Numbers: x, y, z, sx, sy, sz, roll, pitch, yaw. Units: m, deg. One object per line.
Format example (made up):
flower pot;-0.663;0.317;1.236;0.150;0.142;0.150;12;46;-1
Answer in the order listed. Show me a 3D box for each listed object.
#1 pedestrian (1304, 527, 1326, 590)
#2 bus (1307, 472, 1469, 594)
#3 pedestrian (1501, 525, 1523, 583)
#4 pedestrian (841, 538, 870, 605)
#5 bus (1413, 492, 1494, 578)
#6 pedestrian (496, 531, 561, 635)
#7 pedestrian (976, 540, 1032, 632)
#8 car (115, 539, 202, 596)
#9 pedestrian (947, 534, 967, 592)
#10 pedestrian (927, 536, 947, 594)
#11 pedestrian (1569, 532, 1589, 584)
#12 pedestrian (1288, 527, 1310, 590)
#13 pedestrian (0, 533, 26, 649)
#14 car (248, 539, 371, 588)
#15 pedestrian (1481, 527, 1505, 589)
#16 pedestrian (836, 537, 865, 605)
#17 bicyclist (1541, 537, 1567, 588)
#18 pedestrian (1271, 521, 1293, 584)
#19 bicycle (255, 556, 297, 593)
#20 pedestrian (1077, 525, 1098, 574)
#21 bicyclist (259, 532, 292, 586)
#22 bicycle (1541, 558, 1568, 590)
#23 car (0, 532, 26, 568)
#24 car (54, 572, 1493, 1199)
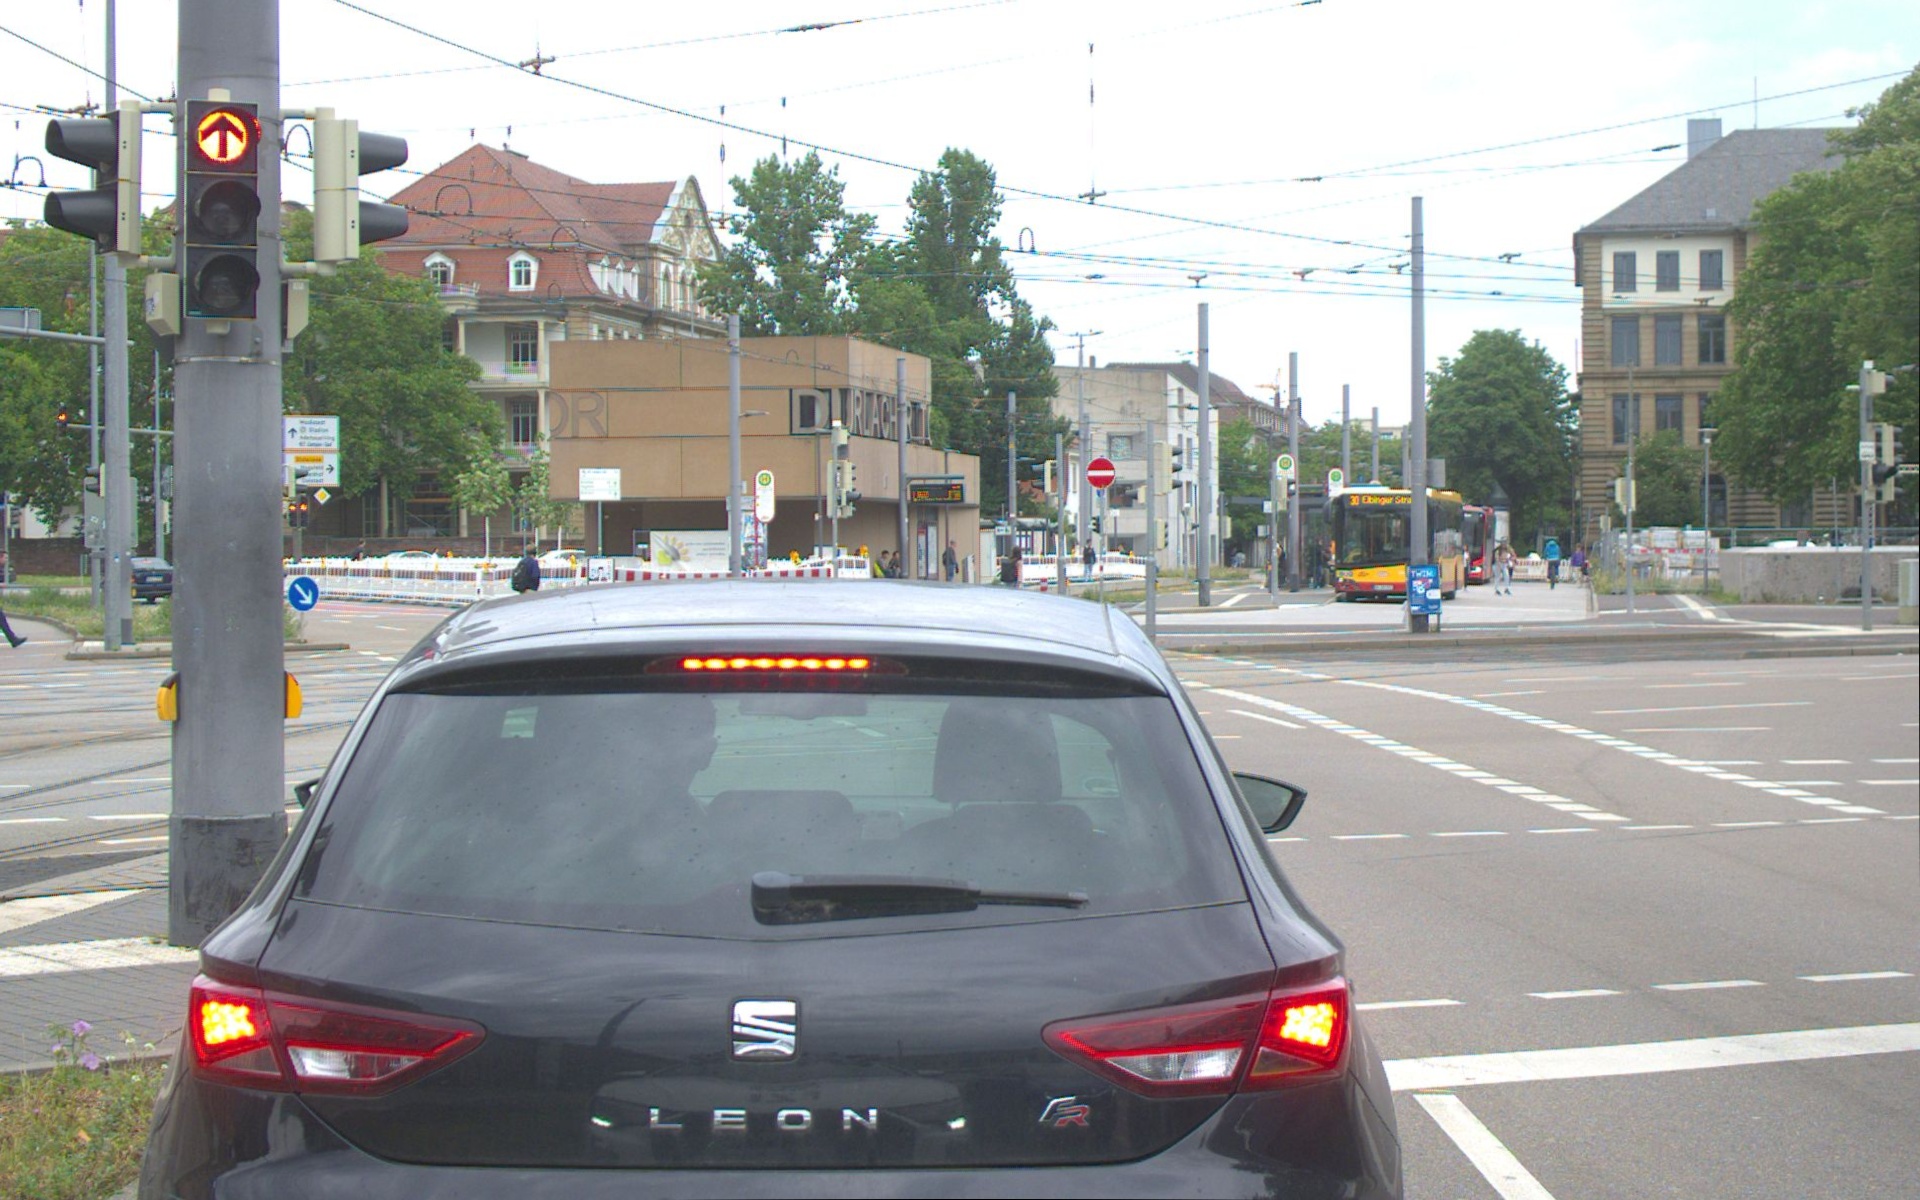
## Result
pedestrian;10.781;-1.254;104.530;0.621;1.911;0.698;0;1;9
bus;11.761;-1.804;93.444;2.962;3.112;11.531;0;1;14
pedestrian;19.434;-1.620;121.104;0.662;2.007;0.692;0;1;0
pedestrian;-2.954;-0.812;97.365;0.708;1.911;0.623;0;1;7
bus;19.670;-2.565;136.653;2.655;3.272;10.990;0;1;11
pedestrian;-8.158;-0.328;64.938;1.027;1.927;0.701;-1;1;-25
pedestrian;0.943;-0.311;72.937;0.700;1.927;1.028;0;1;38
car;-24.444;-0.977;104.757;1.993;1.678;4.001;0;0;-22
pedestrian;-0.085;-1.215;113.627;0.621;1.911;0.710;0;1;3
pedestrian;-0.758;-1.148;113.656;0.621;1.911;0.710;0;1;3
pedestrian;23.818;-1.630;132.295;0.662;2.007;0.692;0;1;0
pedestrian;10.398;-1.279;105.533;0.621;1.911;0.710;0;1;3
pedestrian;-16.862;-0.164;59.992;1.020;2.007;0.846;-1;1;-20
car;-23.264;-1.297;123.025;3.987;1.678;2.000;-1;0;1
pedestrian;16.332;-1.282;105.359;0.596;1.878;0.531;0;1;26
pedestrian;-3.077;-0.813;96.569;0.708;1.911;0.623;0;1;7
bicyclist;21.274;-1.343;123.073;0.872;1.845;1.047;0;1;12
pedestrian;9.743;-1.432;104.124;0.621;1.911;0.698;0;1;9
bicycle;-21.816;-0.823;109.619;0.891;1.174;2.302;0;1;-22
pedestrian;5.102;-2.013;137.465;0.622;1.911;0.709;-1;0;25
bicyclist;-21.831;-1.313;109.662;0.882;1.726;0.894;0;1;-22
bicycle;21.266;-0.934;123.000;0.866;1.101;2.301;0;1;12
car;-40.231;-2.018;139.826;3.987;1.459;1.781;0;1;4
car;-0.357;0.692;5.987;1.704;1.444;3.813;0;1;-4
